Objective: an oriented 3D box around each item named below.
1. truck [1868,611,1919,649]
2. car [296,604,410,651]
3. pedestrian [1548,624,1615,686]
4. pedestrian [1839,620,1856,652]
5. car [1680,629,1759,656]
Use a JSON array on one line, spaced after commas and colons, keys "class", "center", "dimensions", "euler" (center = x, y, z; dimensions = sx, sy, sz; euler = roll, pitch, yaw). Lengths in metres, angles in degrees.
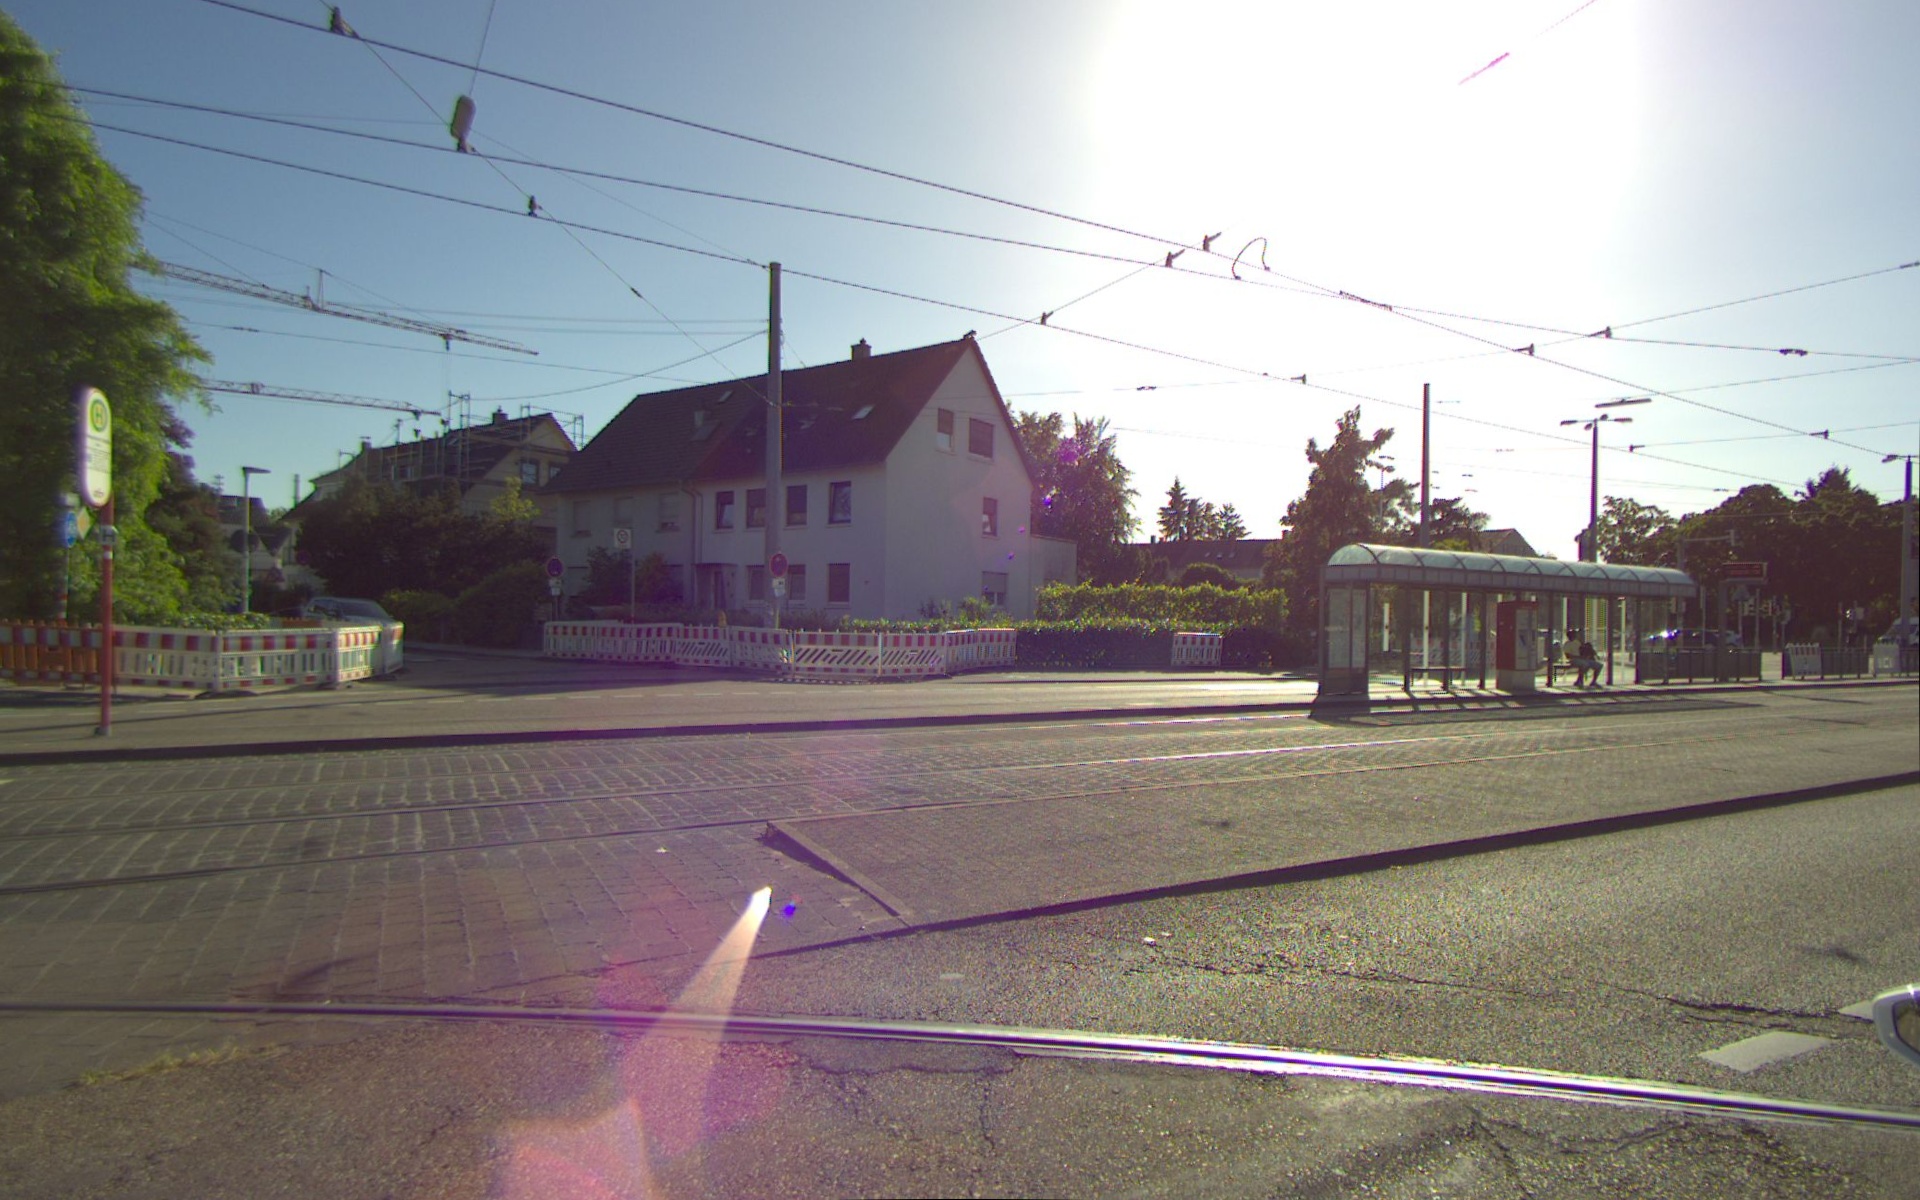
[{"class": "truck", "center": [68.097, 2.164, 71.237], "dimensions": [6.705, 2.599, 1.995], "euler": [1, -1, -13]}, {"class": "car", "center": [-20.545, 0.885, 33.920], "dimensions": [4.419, 1.426, 1.742], "euler": [1, 0, 37]}, {"class": "pedestrian", "center": [15.210, 1.325, 24.596], "dimensions": [0.995, 1.472, 1.055], "euler": [2, -2, -30]}, {"class": "pedestrian", "center": [57.690, 2.311, 65.257], "dimensions": [0.785, 2.040, 0.741], "euler": [1, -1, -41]}, {"class": "car", "center": [49.048, 2.707, 64.952], "dimensions": [3.932, 1.493, 1.747], "euler": [2, 0, 34]}]
